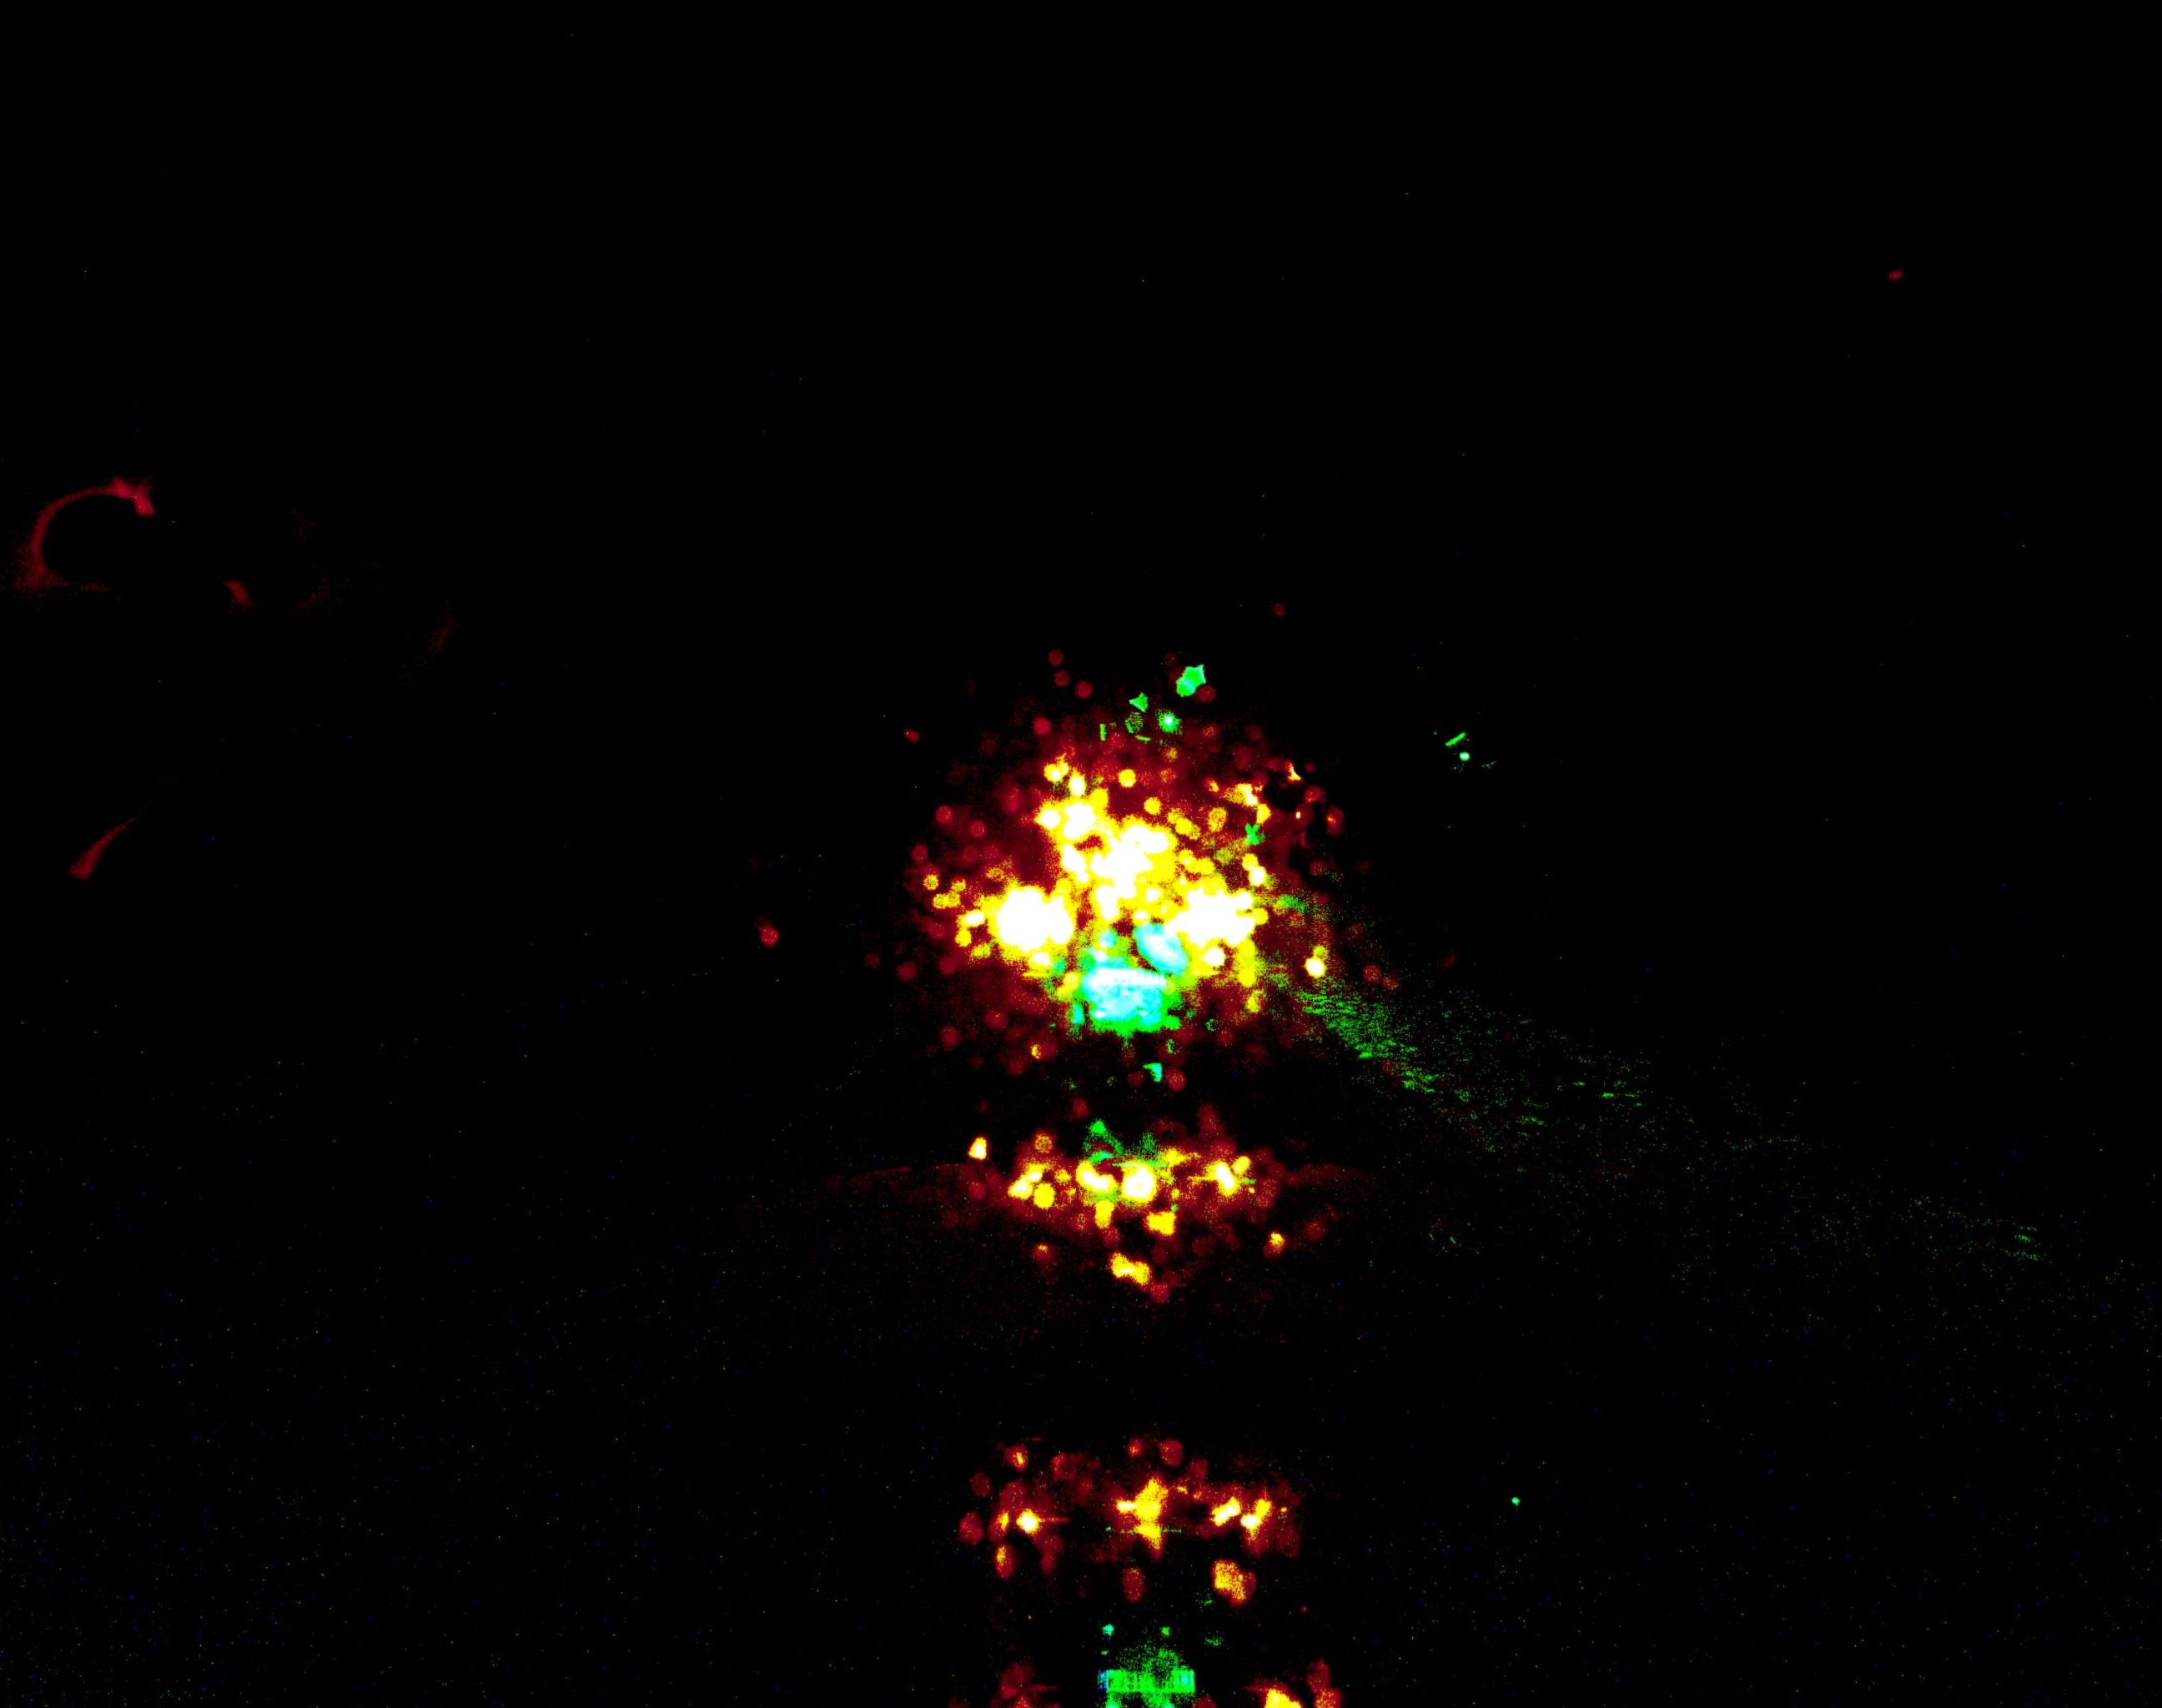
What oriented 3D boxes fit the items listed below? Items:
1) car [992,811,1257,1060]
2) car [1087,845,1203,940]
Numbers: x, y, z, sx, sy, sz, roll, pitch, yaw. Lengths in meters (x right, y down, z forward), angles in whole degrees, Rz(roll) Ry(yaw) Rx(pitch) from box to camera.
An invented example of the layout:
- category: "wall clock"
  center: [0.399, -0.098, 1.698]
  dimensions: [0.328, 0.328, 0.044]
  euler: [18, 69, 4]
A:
- category: "car"
  center: [0.405, 0.535, 7.555]
  dimensions: [1.783, 1.681, 3.908]
  euler: [-1, 1, 3]
- category: "car"
  center: [1.177, 0.587, 14.588]
  dimensions: [1.735, 1.415, 4.006]
  euler: [-2, 0, 5]
